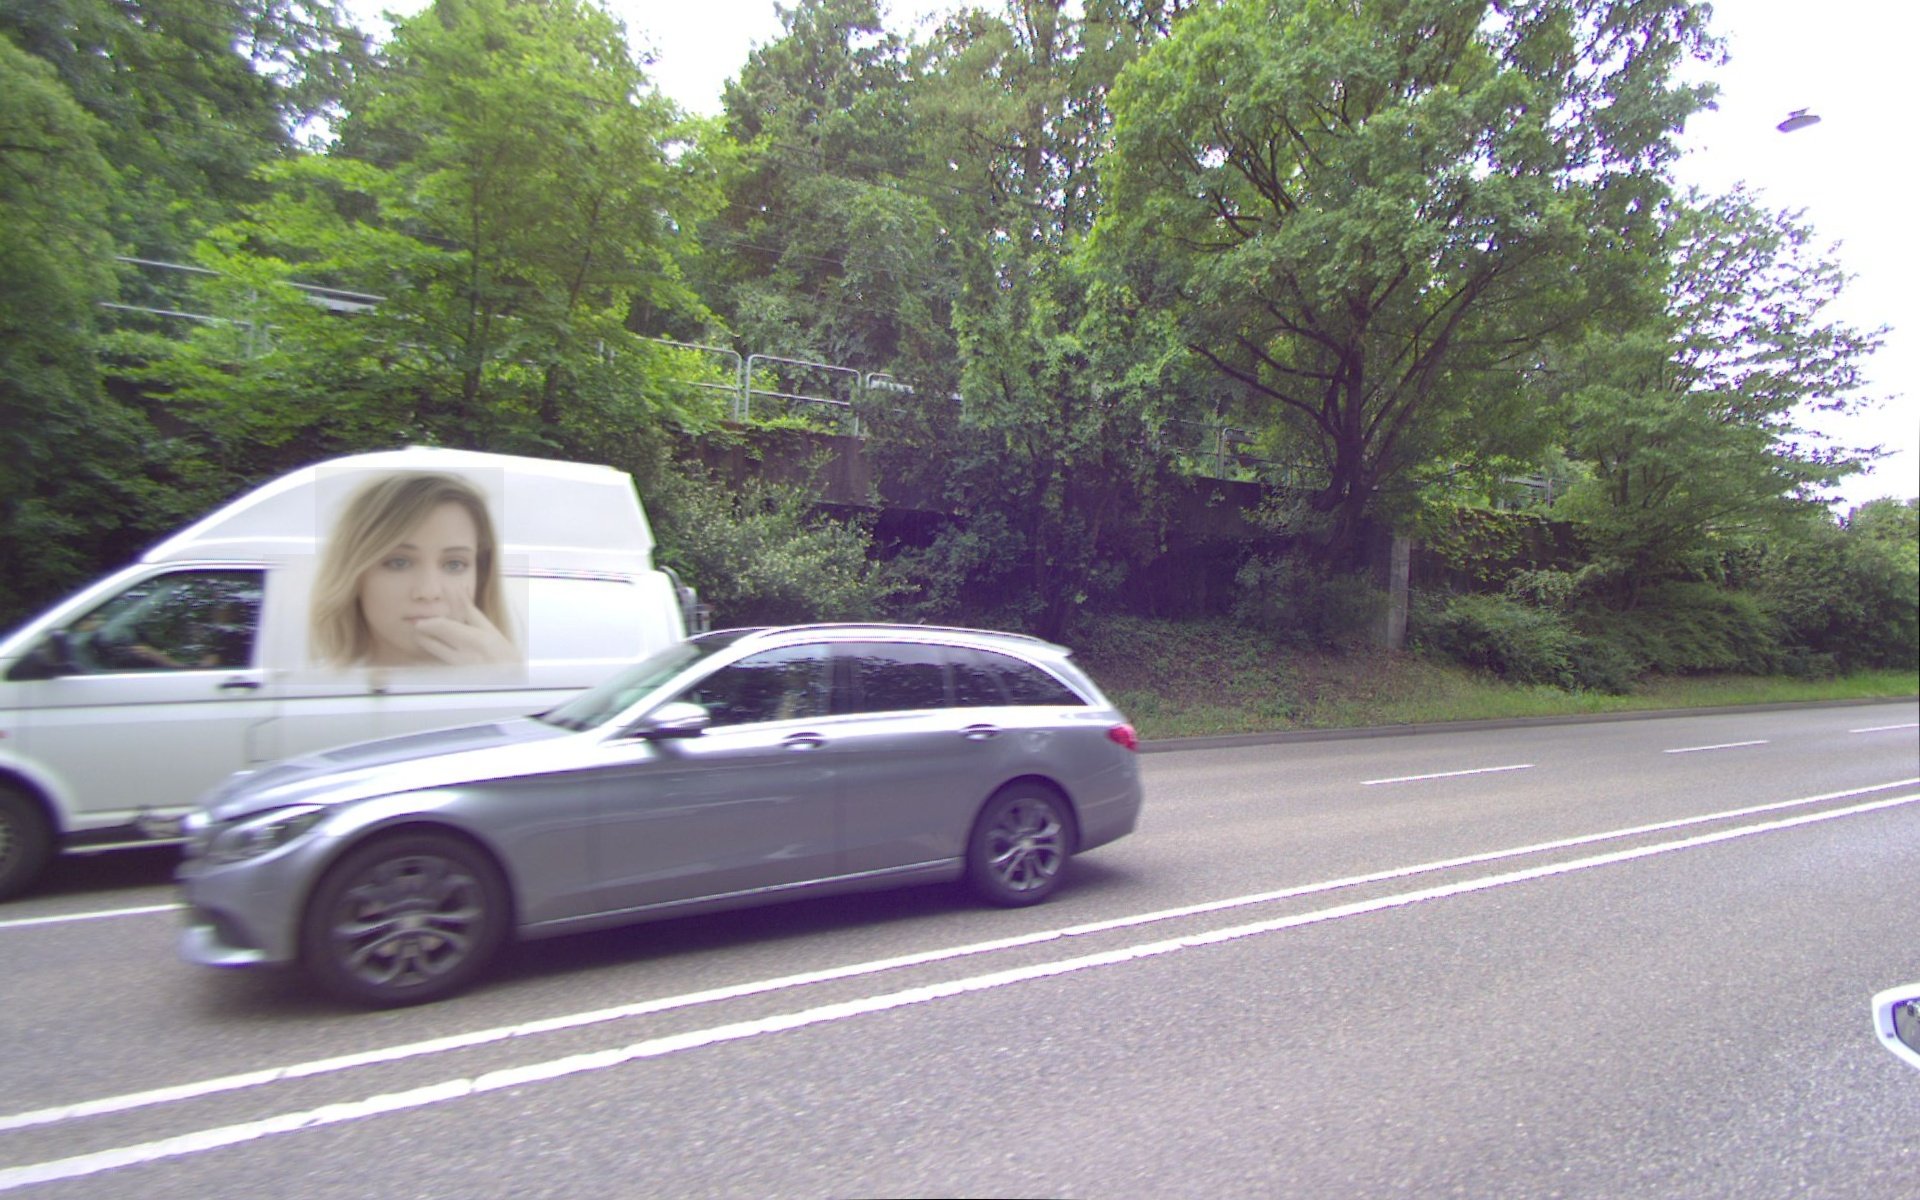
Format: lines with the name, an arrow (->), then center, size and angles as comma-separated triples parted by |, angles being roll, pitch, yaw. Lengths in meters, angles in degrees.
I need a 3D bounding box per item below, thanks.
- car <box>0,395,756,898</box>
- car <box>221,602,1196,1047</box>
car -> -4.022, 0.346, 6.815 | 4.857, 2.588, 1.879 | 2, -5, -30
car -> -1.027, 0.865, 5.316 | 4.414, 1.484, 1.830 | 2, -4, -31
